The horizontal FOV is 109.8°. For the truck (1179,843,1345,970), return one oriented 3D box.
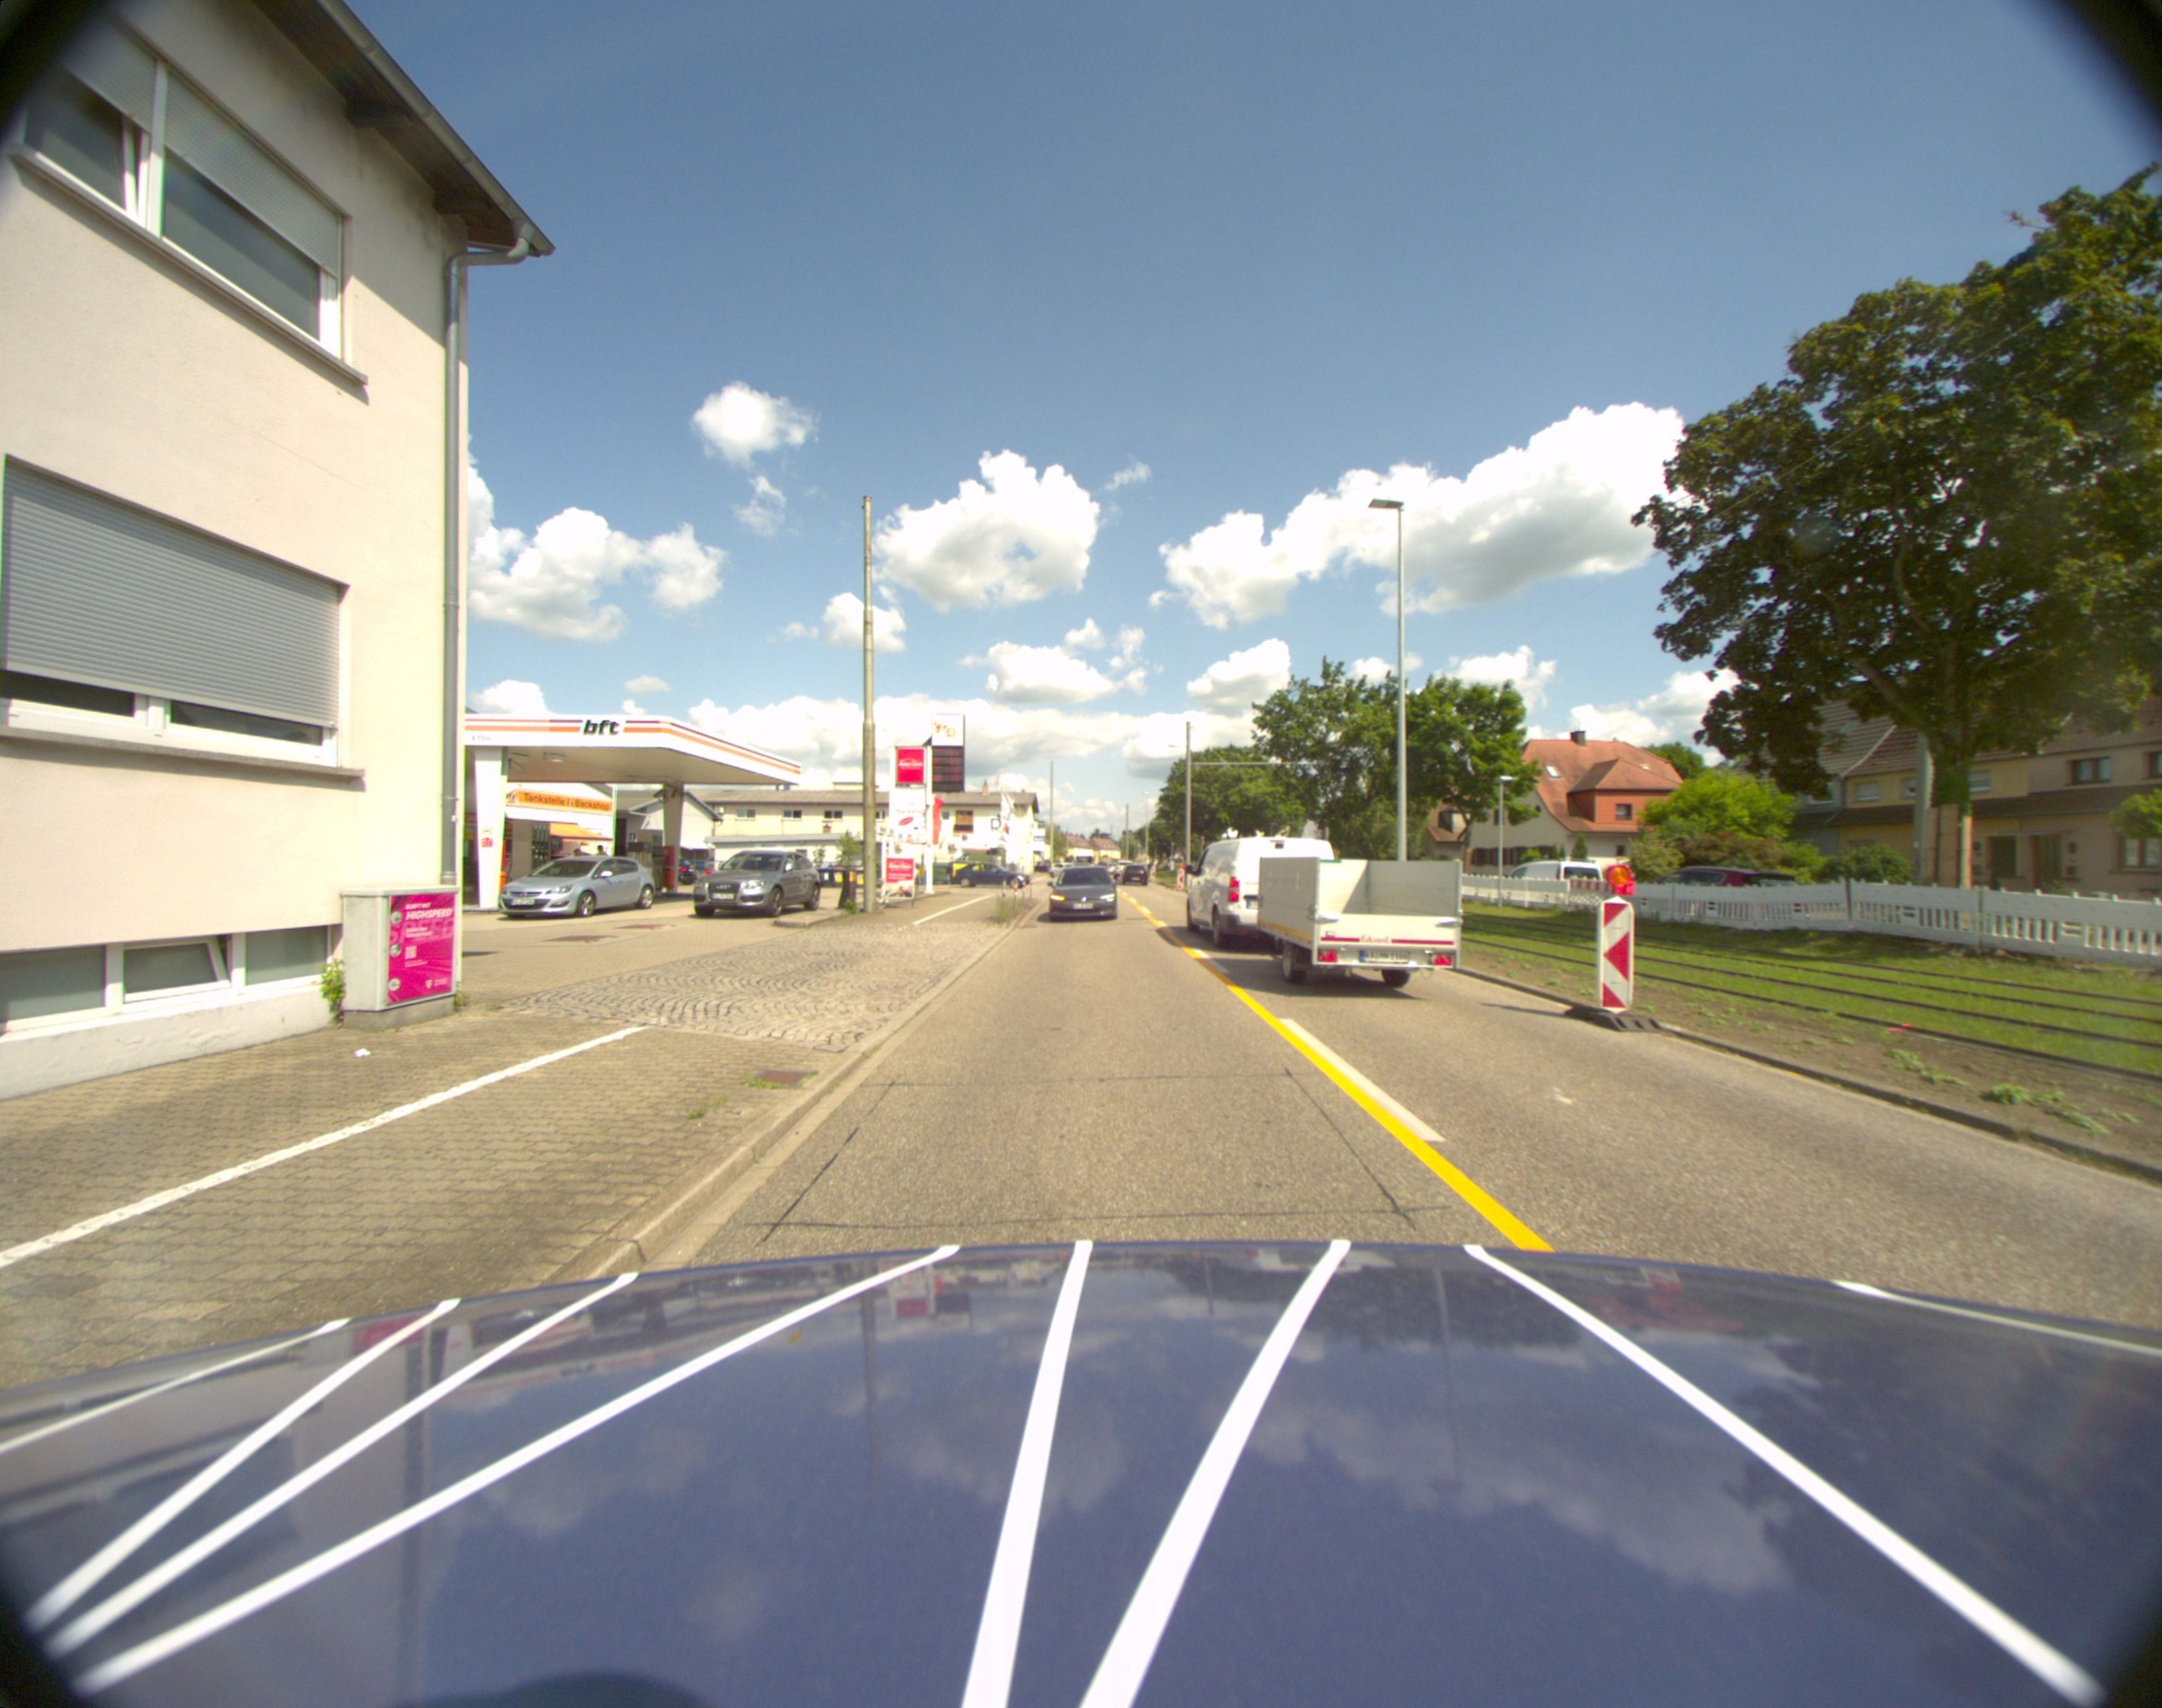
[{"bbox_3d":[3.144,0.781,14.350,1.824,1.898,5.115,2,1,0],"label":"truck"}]

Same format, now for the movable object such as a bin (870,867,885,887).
[{"bbox_3d":[-10.728,1.204,39.998,0.582,1.004,0.706,-1,1,-1],"label":"movable object such as a bin"}]

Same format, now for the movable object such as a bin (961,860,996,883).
[{"bbox_3d":[-6.643,1.123,49.300,1.968,1.339,1.708,-1,1,0],"label":"movable object such as a bin"}]

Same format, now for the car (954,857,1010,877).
[{"bbox_3d":[-8.220,1.068,63.487,4.257,1.499,1.828,-1,1,8],"label":"car"}]

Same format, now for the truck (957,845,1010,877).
[{"bbox_3d":[-8.470,0.604,66.299,4.181,2.645,2.108,-1,1,2],"label":"truck"}]

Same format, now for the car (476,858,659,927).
[{"bbox_3d":[-12.624,0.862,19.070,1.696,1.462,4.422,0,1,-2],"label":"car"}]

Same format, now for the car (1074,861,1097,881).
[{"bbox_3d":[0.339,1.243,56.676,1.594,1.418,3.707,-1,0,1],"label":"car"}]

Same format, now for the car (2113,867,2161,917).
[{"bbox_3d":[28.483,1.016,18.329,1.537,1.267,4.120,1,0,1],"label":"car"}]

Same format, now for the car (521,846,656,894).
[{"bbox_3d":[-16.832,0.521,26.284,1.687,1.511,4.493,1,0,1],"label":"car"}]

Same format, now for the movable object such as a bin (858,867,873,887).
[{"bbox_3d":[-11.334,1.219,39.987,0.582,1.004,0.706,-1,1,-1],"label":"movable object such as a bin"}]

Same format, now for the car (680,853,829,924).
[{"bbox_3d":[-8.227,0.790,19.670,1.951,1.615,4.615,1,0,-1],"label":"car"}]

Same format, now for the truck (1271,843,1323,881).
[{"bbox_3d":[16.778,0.594,59.254,2.371,2.788,5.951,-1,0,1],"label":"truck"}]

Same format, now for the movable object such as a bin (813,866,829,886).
[{"bbox_3d":[-13.719,1.159,40.105,0.582,1.004,0.706,-1,1,-1],"label":"movable object such as a bin"}]

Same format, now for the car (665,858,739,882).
[{"bbox_3d":[-20.563,0.847,41.278,3.309,1.218,1.487,1,1,2],"label":"car"}]

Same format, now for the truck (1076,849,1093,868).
[{"bbox_3d":[0.584,0.658,125.125,2.632,2.871,7.923,-1,0,1],"label":"truck"}]

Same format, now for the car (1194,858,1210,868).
[{"bbox_3d":[17.447,1.243,109.407,1.636,1.294,4.000,-1,0,1],"label":"car"}]

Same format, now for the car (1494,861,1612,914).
[{"bbox_3d":[16.367,1.104,26.604,1.657,1.616,4.000,1,0,1],"label":"car"}]

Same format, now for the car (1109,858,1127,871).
[{"bbox_3d":[4.369,1.287,90.518,1.826,1.436,4.484,2,-1,0],"label":"car"}]

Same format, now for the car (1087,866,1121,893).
[{"bbox_3d":[1.220,1.325,41.177,1.732,1.259,4.000,-1,0,1],"label":"car"}]

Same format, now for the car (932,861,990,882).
[{"bbox_3d":[-8.889,1.286,56.169,3.902,1.454,1.628,0,1,17],"label":"car"}]

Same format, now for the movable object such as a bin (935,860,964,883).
[{"bbox_3d":[-8.441,1.128,48.818,1.536,1.402,1.765,-1,1,0],"label":"movable object such as a bin"}]

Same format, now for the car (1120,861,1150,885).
[{"bbox_3d":[3.685,1.280,52.198,1.696,1.404,3.859,3,0,0],"label":"car"}]

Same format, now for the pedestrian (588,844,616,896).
[{"bbox_3d":[-16.210,0.521,25.722,0.687,1.712,0.618,-2,1,-26],"label":"pedestrian"}]

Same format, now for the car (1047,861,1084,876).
[{"bbox_3d":[-1.462,1.323,70.139,1.521,1.350,3.719,-2,1,-37],"label":"car"}]

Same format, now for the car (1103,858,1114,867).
[{"bbox_3d":[4.566,1.407,126.255,1.582,1.460,3.720,1,0,1],"label":"car"}]

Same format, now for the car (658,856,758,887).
[{"bbox_3d":[-18.686,0.849,38.130,4.144,1.416,1.771,1,1,2],"label":"car"}]

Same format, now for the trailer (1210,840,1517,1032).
[{"bbox_3d":[3.271,0.797,10.289,2.067,1.825,5.485,2,0,0],"label":"trailer"}]

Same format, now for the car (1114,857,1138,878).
[{"bbox_3d":[3.877,1.133,66.712,1.829,1.656,4.462,1,0,0],"label":"car"}]

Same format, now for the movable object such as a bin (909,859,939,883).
[{"bbox_3d":[-10.035,1.076,48.739,1.536,1.402,1.765,-1,1,0],"label":"movable object such as a bin"}]

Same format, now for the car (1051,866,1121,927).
[{"bbox_3d":[0.166,1.103,21.408,1.743,1.410,4.381,-1,0,1],"label":"car"}]

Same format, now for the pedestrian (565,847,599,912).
[{"bbox_3d":[-13.780,0.698,21.001,0.498,1.766,0.577,-1,1,-2],"label":"pedestrian"}]

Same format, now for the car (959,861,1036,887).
[{"bbox_3d":[-4.665,1.090,42.655,4.061,1.400,1.648,0,1,6],"label":"car"}]

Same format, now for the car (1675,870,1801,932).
[{"bbox_3d":[16.122,1.100,18.777,1.075,1.340,2.449,1,1,4],"label":"car"}]

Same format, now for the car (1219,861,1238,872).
[{"bbox_3d":[18.039,1.472,92.907,1.625,1.235,3.787,-1,0,1],"label":"car"}]
